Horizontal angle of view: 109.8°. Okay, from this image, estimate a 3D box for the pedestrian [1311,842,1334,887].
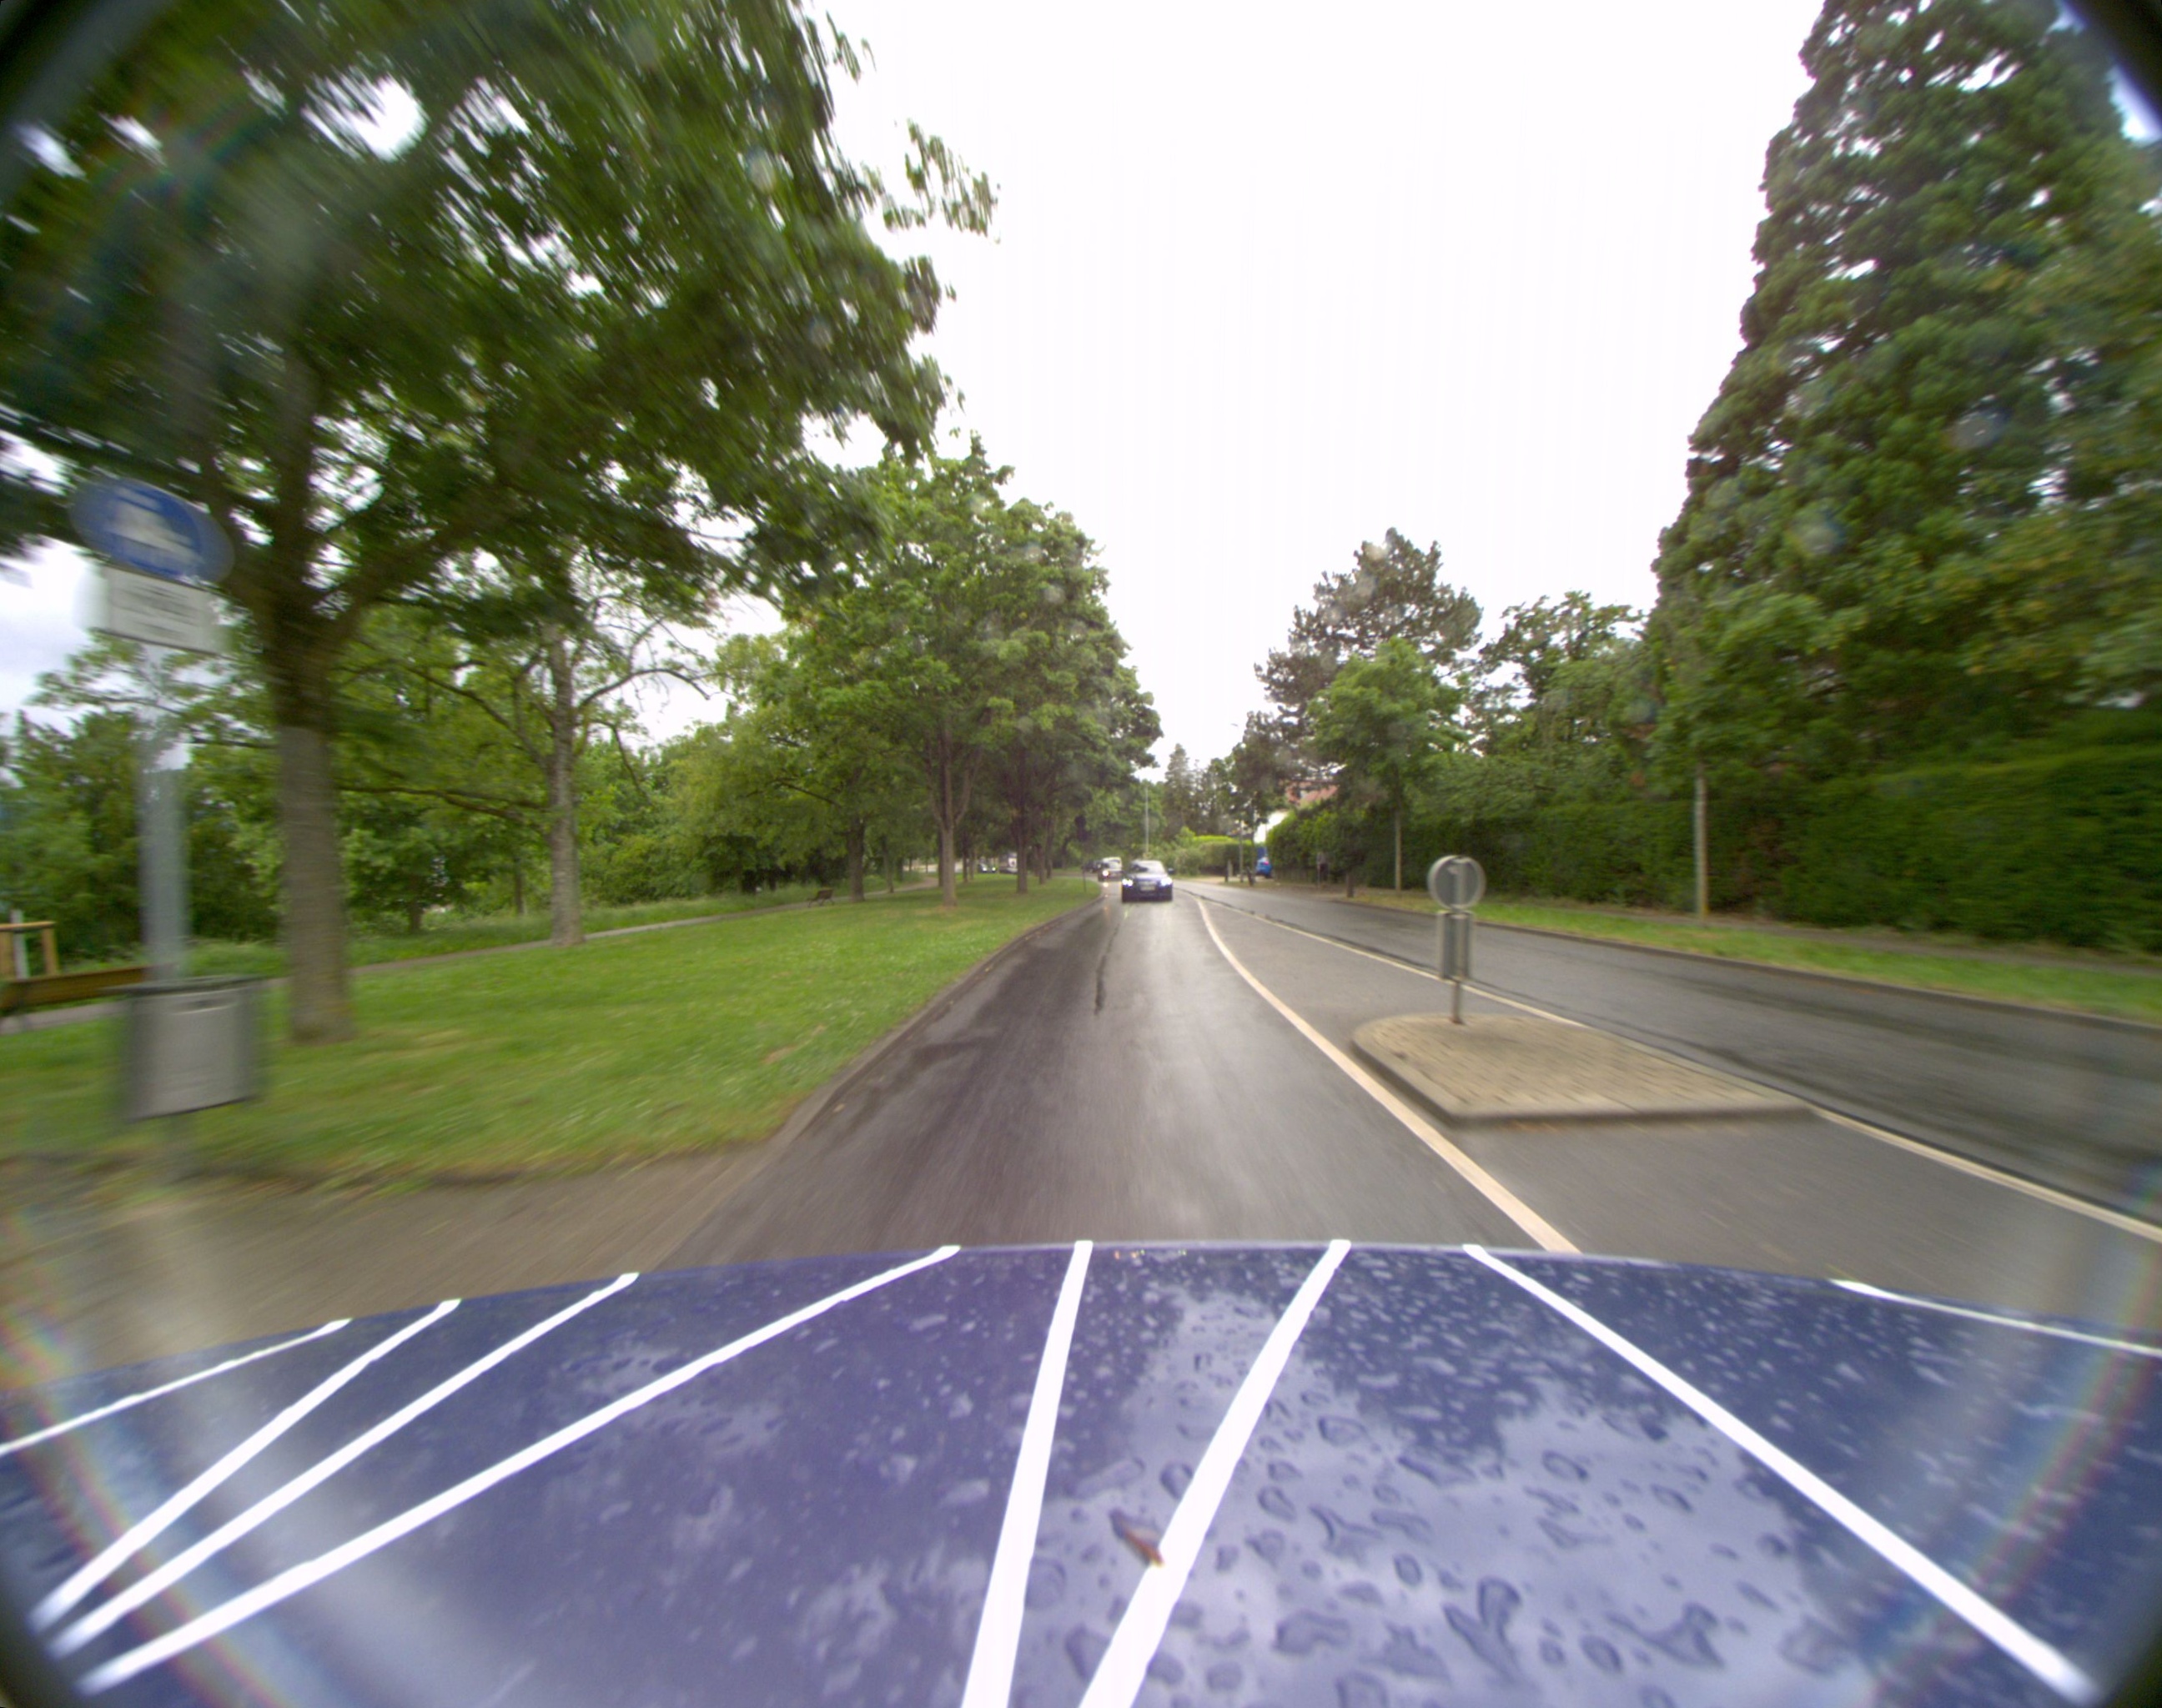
[{"bbox_3d":[9.924,0.420,31.238,0.712,1.820,0.881,-2,1,6],"label":"pedestrian"}]

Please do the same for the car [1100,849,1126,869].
[{"bbox_3d":[3.635,0.524,86.823,2.000,2.077,3.995,-2,1,-12],"label":"car"}]

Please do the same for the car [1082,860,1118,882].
[{"bbox_3d":[1.501,1.350,61.582,2.000,1.606,3.996,-2,0,-11],"label":"car"}]

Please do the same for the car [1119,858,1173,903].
[{"bbox_3d":[2.432,0.955,28.643,1.838,1.502,4.001,-1,0,4],"label":"car"}]

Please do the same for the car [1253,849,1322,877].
[{"bbox_3d":[13.250,0.568,48.819,3.862,1.577,1.817,-2,0,-3],"label":"car"}]

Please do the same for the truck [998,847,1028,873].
[{"bbox_3d":[-8.278,0.758,91.730,2.149,3.028,5.159,-2,0,-22],"label":"truck"}]
